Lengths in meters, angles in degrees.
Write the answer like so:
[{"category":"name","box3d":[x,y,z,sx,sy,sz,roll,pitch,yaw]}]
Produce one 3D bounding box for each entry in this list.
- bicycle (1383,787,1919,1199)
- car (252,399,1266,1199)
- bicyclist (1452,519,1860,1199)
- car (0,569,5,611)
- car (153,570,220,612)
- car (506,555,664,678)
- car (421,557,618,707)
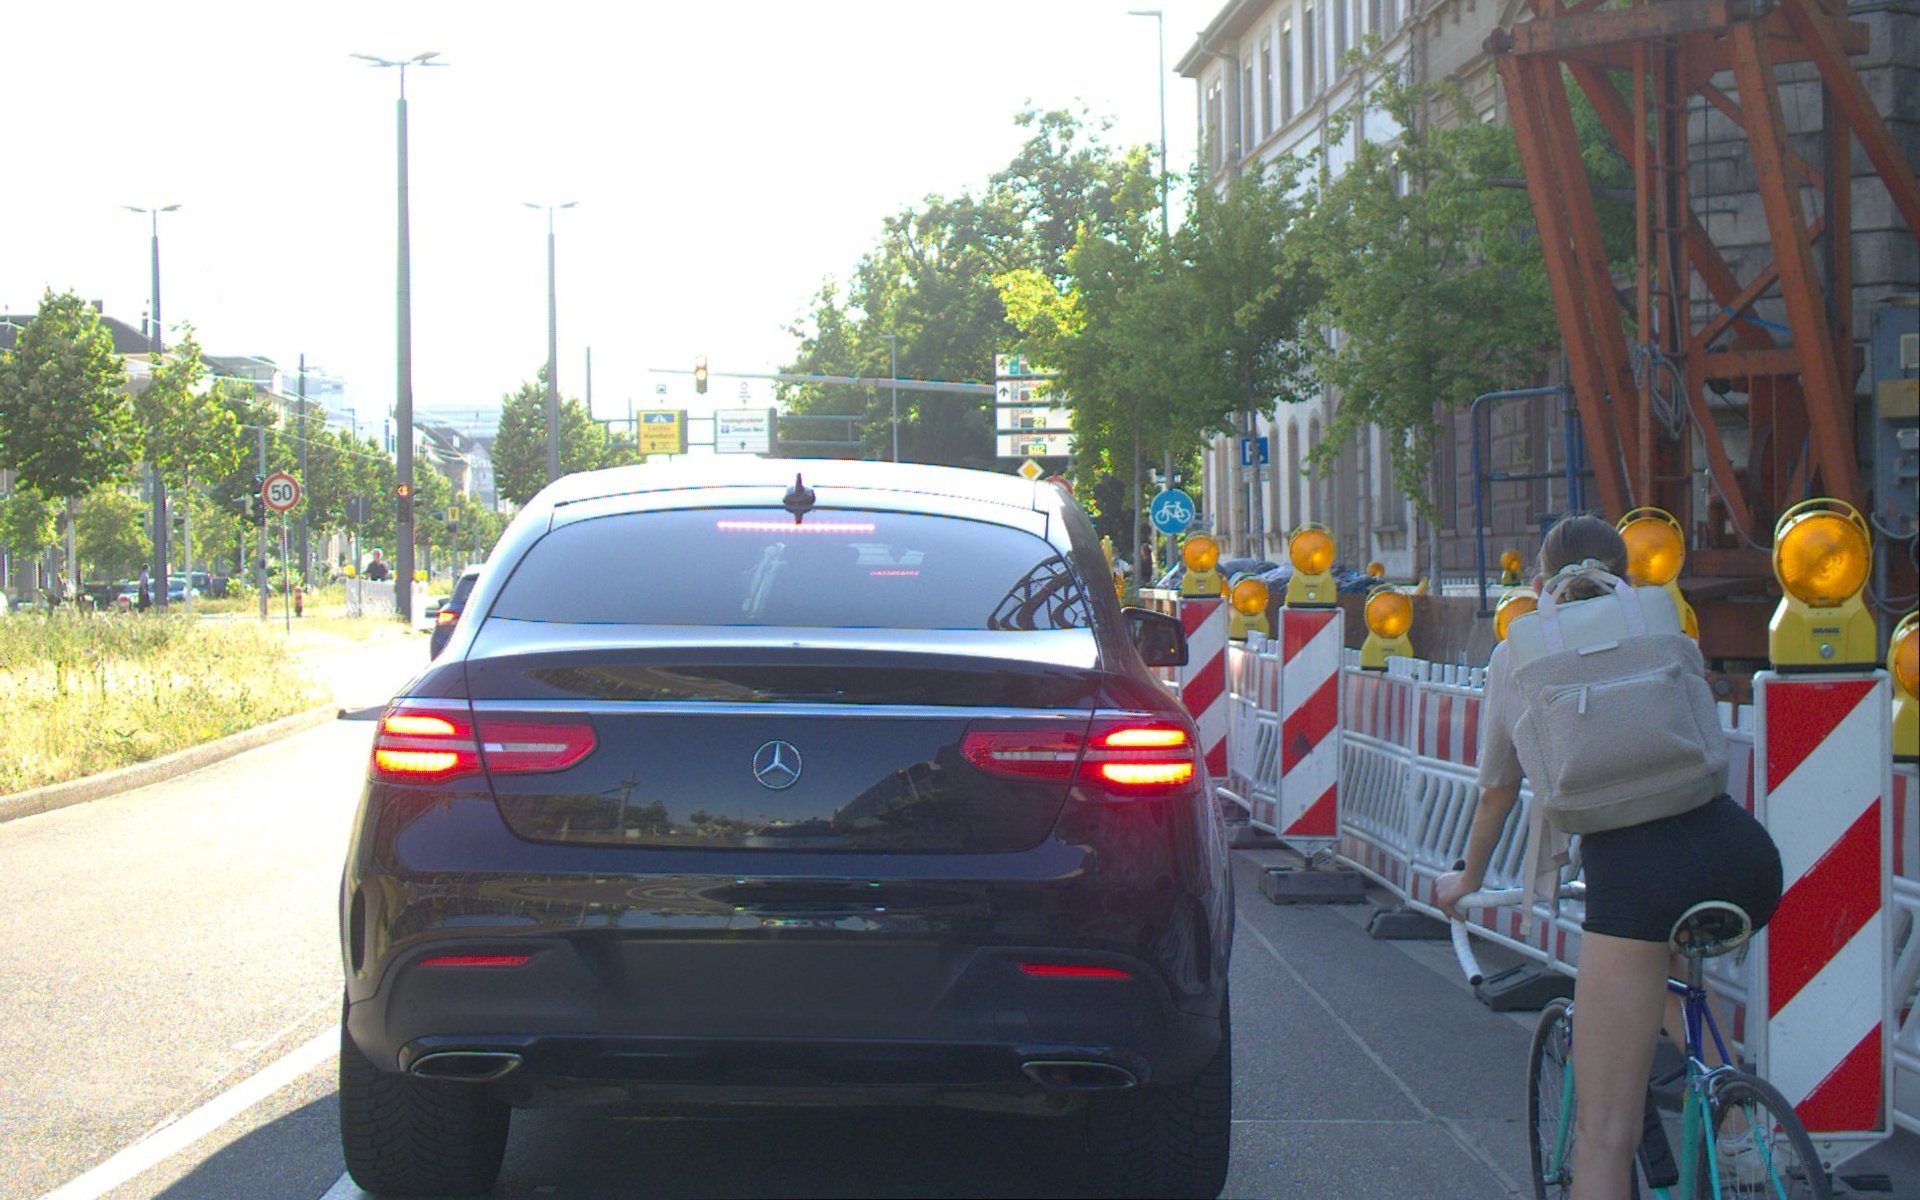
[{"category":"bicycle","box3d":[1.147,0.905,5.950,0.512,1.048,1.725,1,1,-3]},{"category":"car","box3d":[-0.423,0.477,8.835,1.993,1.766,4.000,1,1,-1]},{"category":"bicyclist","box3d":[1.164,0.565,5.846,0.522,1.391,0.615,1,0,-3]},{"category":"car","box3d":[-33.410,-0.341,115.597,1.708,1.437,3.583,1,1,-3]},{"category":"car","box3d":[-27.387,-0.322,121.748,1.708,1.437,3.583,1,1,-3]},{"category":"car","box3d":[-4.614,0.181,42.696,1.708,1.437,3.583,1,1,-3]},{"category":"car","box3d":[-4.474,0.294,35.319,1.708,1.437,3.583,1,1,-3]}]
